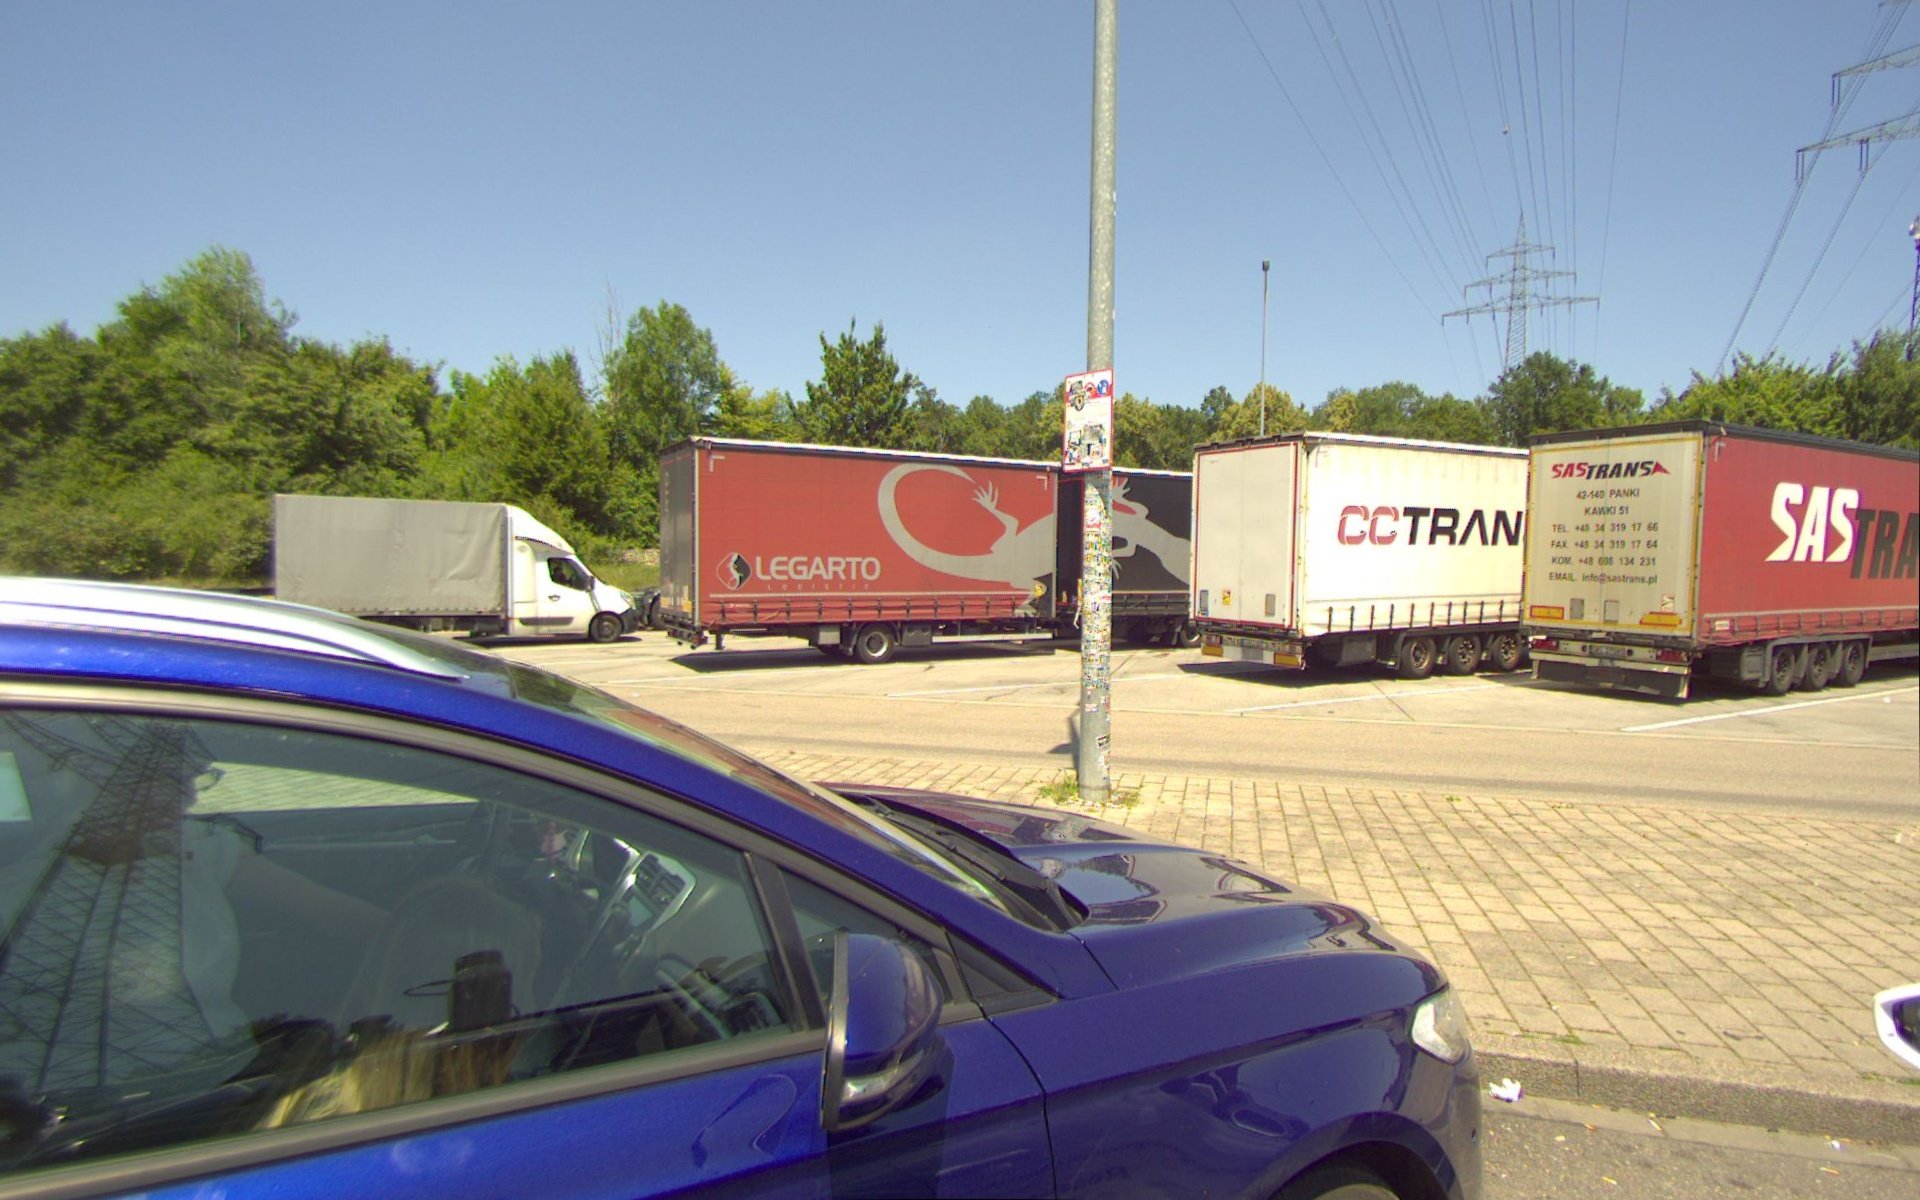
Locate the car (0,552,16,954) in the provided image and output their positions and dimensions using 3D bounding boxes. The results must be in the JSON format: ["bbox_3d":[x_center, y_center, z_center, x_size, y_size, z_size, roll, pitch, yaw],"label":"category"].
[{"bbox_3d":[-4.350,0.512,2.201,3.077,1.378,1.334,1,0,-30],"label":"car"}]

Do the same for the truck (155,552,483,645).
[{"bbox_3d":[-15.384,-0.024,24.617,6.538,2.040,1.984,0,0,-31],"label":"truck"}]

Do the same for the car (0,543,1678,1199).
[{"bbox_3d":[-1.015,0.675,1.463,4.362,1.437,1.731,1,0,-30],"label":"car"}]

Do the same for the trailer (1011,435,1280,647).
[{"bbox_3d":[4.499,-1.241,24.048,6.076,4.504,2.665,0,0,-30],"label":"trailer"}]

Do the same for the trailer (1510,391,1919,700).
[{"bbox_3d":[15.263,-0.727,18.419,13.046,4.276,2.786,0,0,-31],"label":"trailer"}]

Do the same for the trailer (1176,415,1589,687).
[{"bbox_3d":[8.087,-0.756,18.804,8.189,4.208,2.741,0,1,-30],"label":"trailer"}]

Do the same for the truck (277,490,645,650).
[{"bbox_3d":[-11.066,-0.585,22.800,7.171,3.194,2.160,0,1,-30],"label":"truck"}]

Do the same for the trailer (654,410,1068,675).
[{"bbox_3d":[-1.827,-0.959,20.265,7.963,4.510,2.648,0,0,-31],"label":"trailer"}]

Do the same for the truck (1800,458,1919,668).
[{"bbox_3d":[21.445,-0.727,22.056,5.824,4.189,2.792,0,0,-30],"label":"truck"}]
